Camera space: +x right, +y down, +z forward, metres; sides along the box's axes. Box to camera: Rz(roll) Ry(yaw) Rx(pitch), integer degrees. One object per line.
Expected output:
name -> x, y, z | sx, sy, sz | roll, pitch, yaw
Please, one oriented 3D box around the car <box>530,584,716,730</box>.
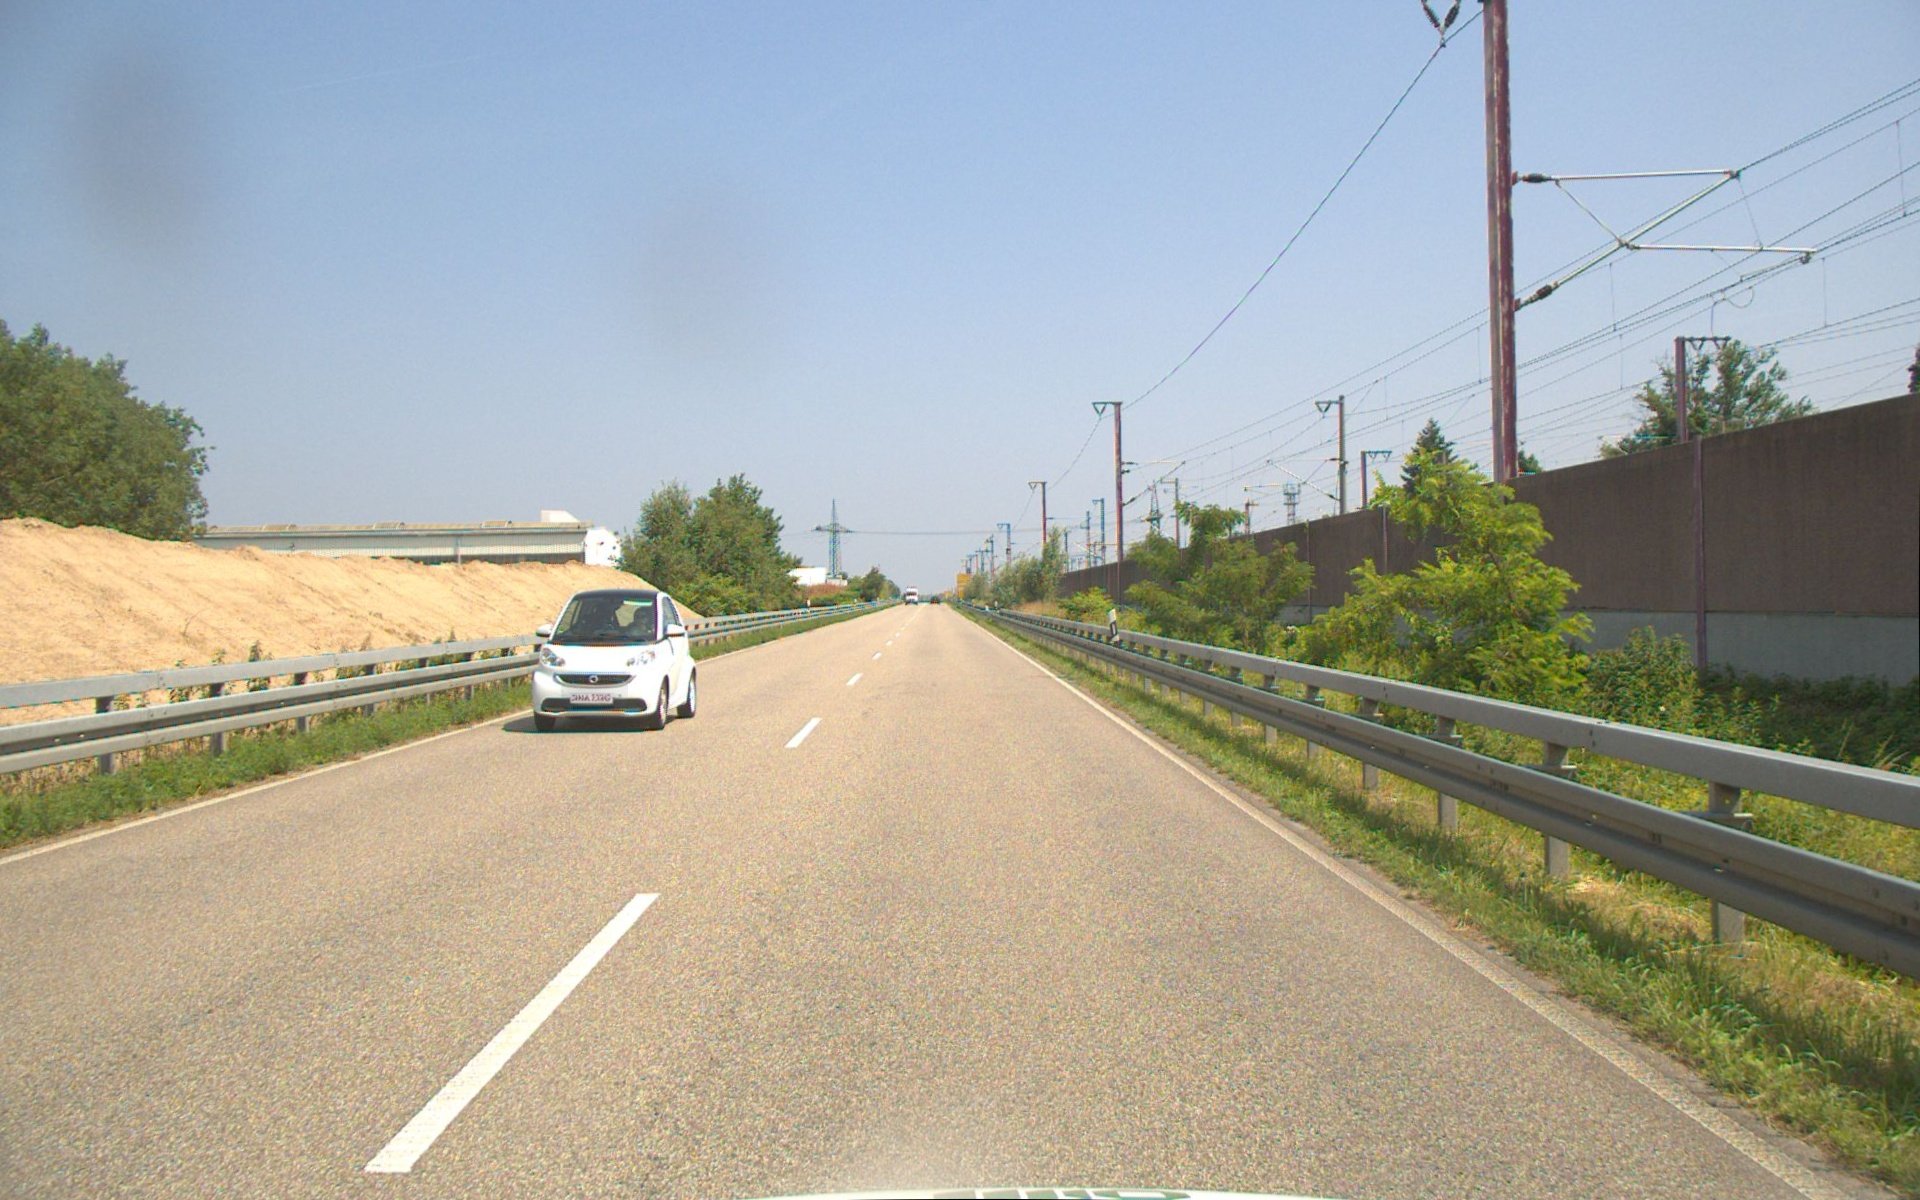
car -> -3.993, 0.606, 20.123 | 1.563, 1.603, 3.827 | 0, 0, -2
